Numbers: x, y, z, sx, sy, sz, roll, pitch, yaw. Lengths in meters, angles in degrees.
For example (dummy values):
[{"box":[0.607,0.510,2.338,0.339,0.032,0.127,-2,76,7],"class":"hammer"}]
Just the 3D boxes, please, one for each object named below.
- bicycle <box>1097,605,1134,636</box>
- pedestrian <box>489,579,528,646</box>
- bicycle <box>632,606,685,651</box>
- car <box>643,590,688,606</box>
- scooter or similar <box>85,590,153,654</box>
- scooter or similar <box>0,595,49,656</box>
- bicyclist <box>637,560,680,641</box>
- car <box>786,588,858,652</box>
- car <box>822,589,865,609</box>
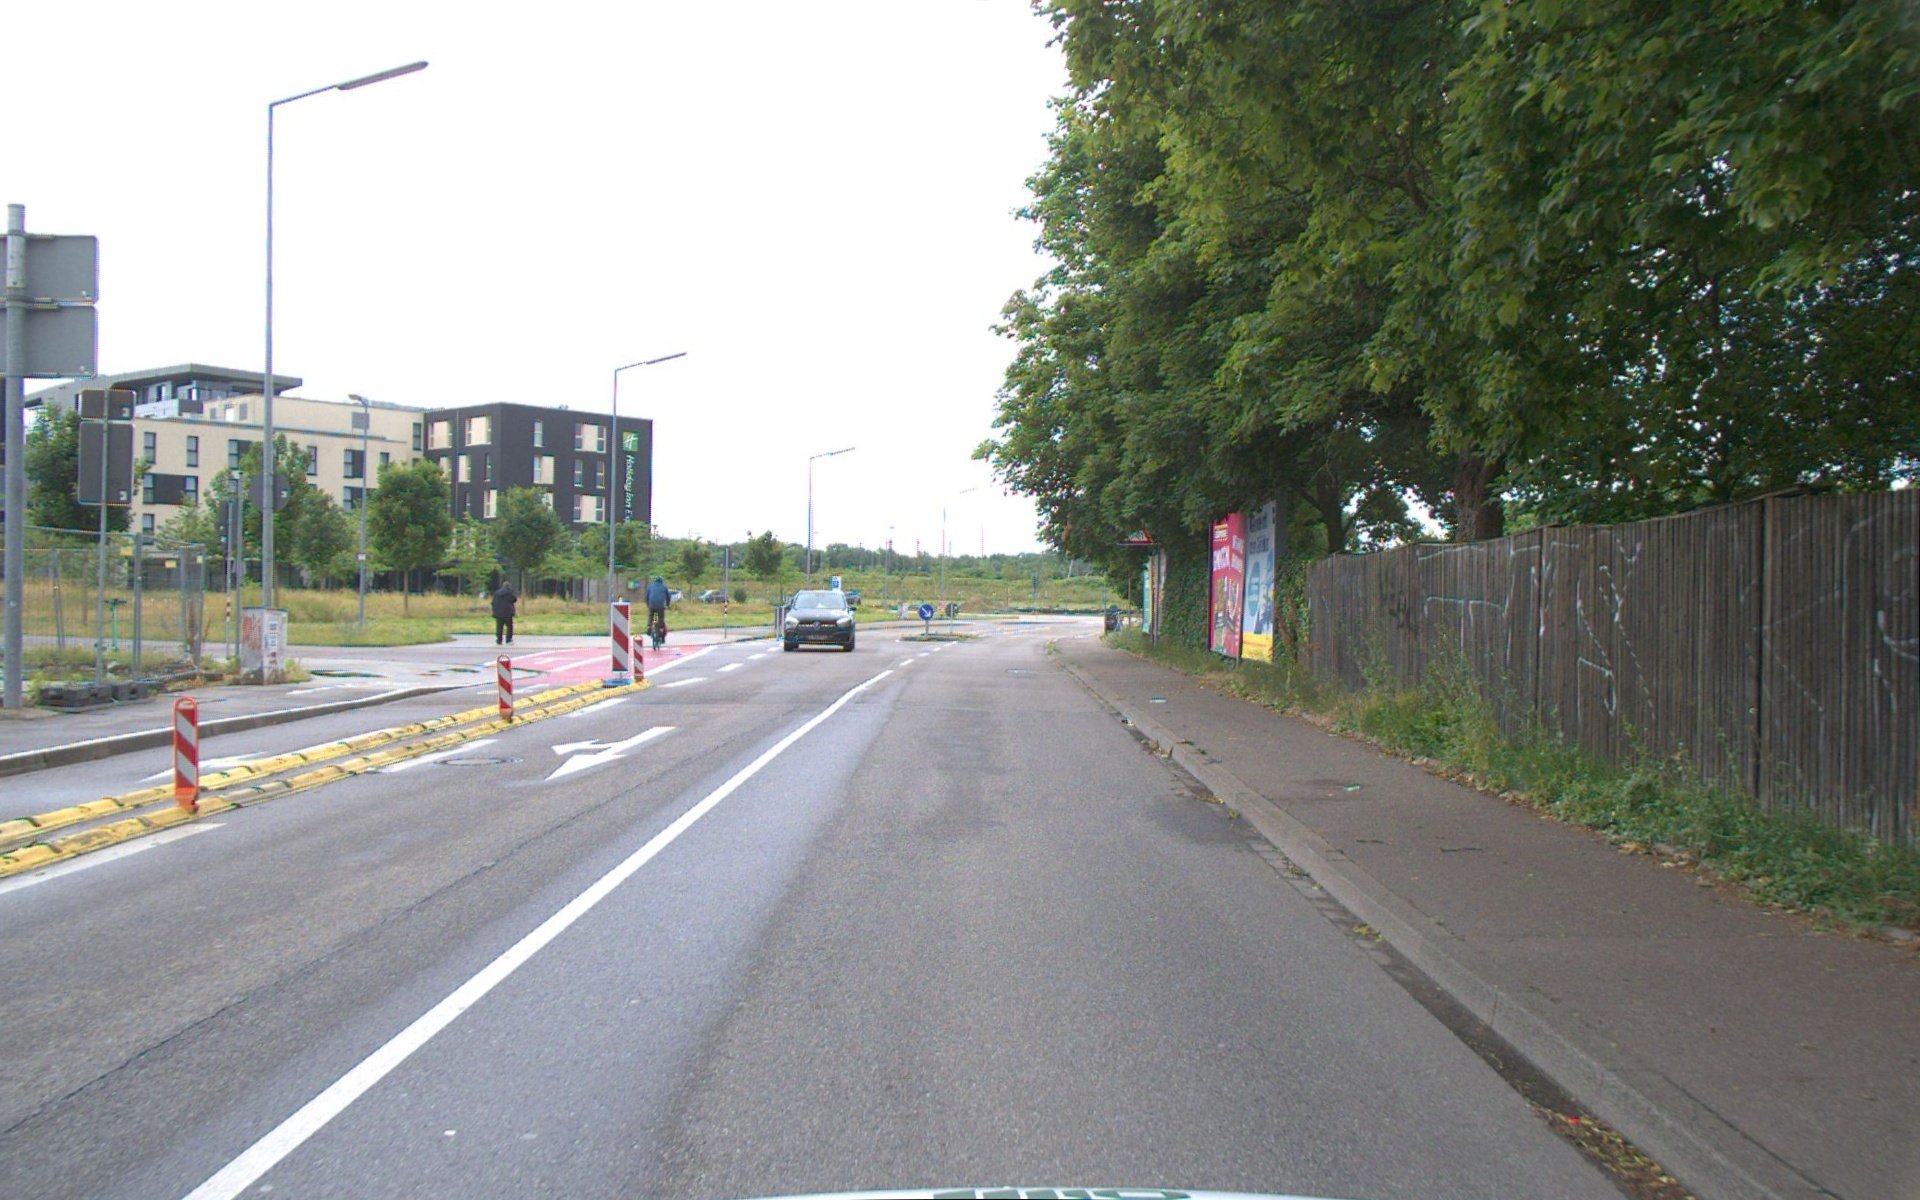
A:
[{"box":[5.843,0.768,62.159,0.779,1.130,1.951,1,0,24],"class":"bicycle"},{"box":[-12.552,0.333,46.017,0.827,1.814,1.076,1,1,-3],"class":"pedestrian"},{"box":[-7.766,0.720,42.718,0.865,1.070,2.469,1,1,0],"class":"bicycle"},{"box":[-29.042,-0.236,163.173,1.959,1.544,4.140,1,1,34],"class":"car"},{"box":[-16.186,0.420,31.820,0.652,1.162,1.873,2,0,-43],"class":"scooter or similar"},{"box":[-18.727,0.505,32.917,1.309,1.162,0.411,2,-1,32],"class":"scooter or similar"},{"box":[-7.764,0.008,42.605,0.844,2.049,1.177,1,1,0],"class":"bicyclist"},{"box":[-3.702,0.492,44.760,1.844,1.594,4.355,1,1,-4],"class":"car"},{"box":[-11.347,-0.148,160.862,3.931,1.854,1.987,2,1,44],"class":"car"}]
